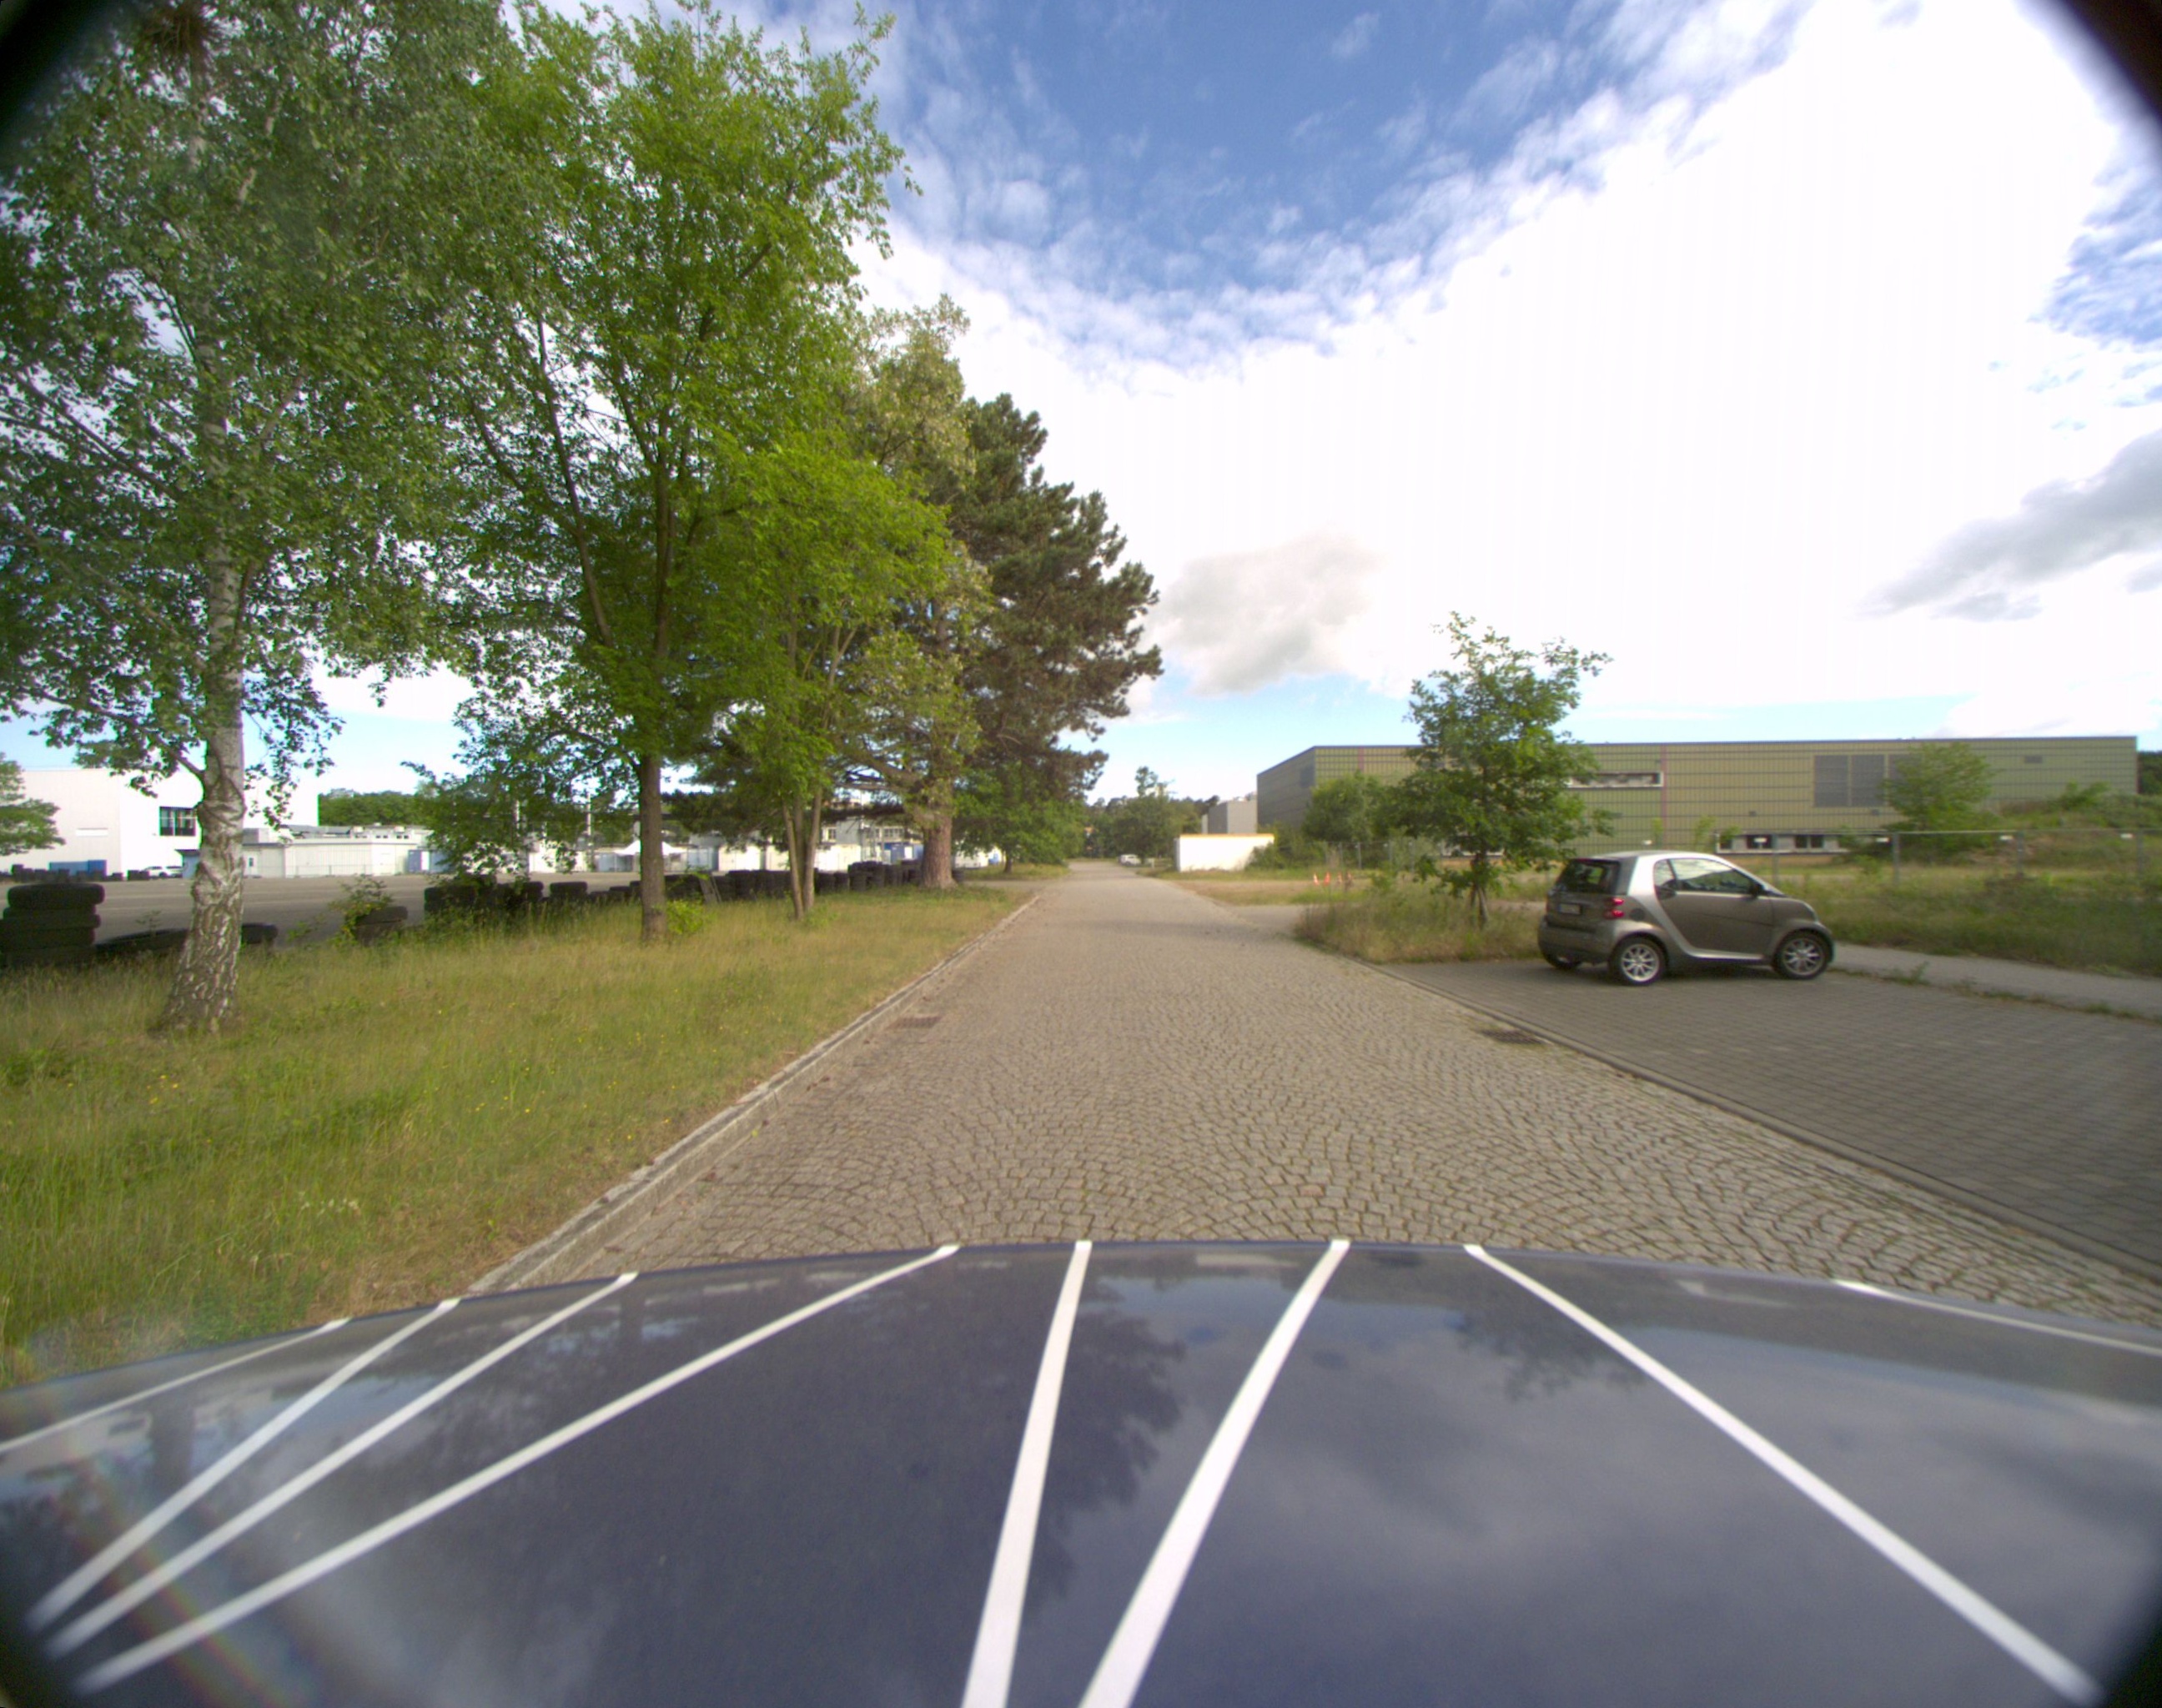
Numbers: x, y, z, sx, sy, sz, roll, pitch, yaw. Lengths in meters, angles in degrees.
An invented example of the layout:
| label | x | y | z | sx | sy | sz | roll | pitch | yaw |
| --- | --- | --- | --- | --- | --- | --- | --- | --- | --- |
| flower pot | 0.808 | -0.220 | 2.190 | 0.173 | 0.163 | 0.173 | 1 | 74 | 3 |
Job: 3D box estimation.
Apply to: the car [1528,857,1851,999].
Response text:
| label | x | y | z | sx | sy | sz | roll | pitch | yaw |
| --- | --- | --- | --- | --- | --- | --- | --- | --- | --- |
| car | 7.324 | 0.841 | 9.361 | 2.661 | 1.502 | 1.610 | -2 | 0 | 0 |

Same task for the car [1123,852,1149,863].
| label | x | y | z | sx | sy | sz | roll | pitch | yaw |
| --- | --- | --- | --- | --- | --- | --- | --- | --- | --- |
| car | 8.422 | 0.521 | 116.584 | 3.996 | 1.604 | 1.797 | 0 | 0 | 4 |
